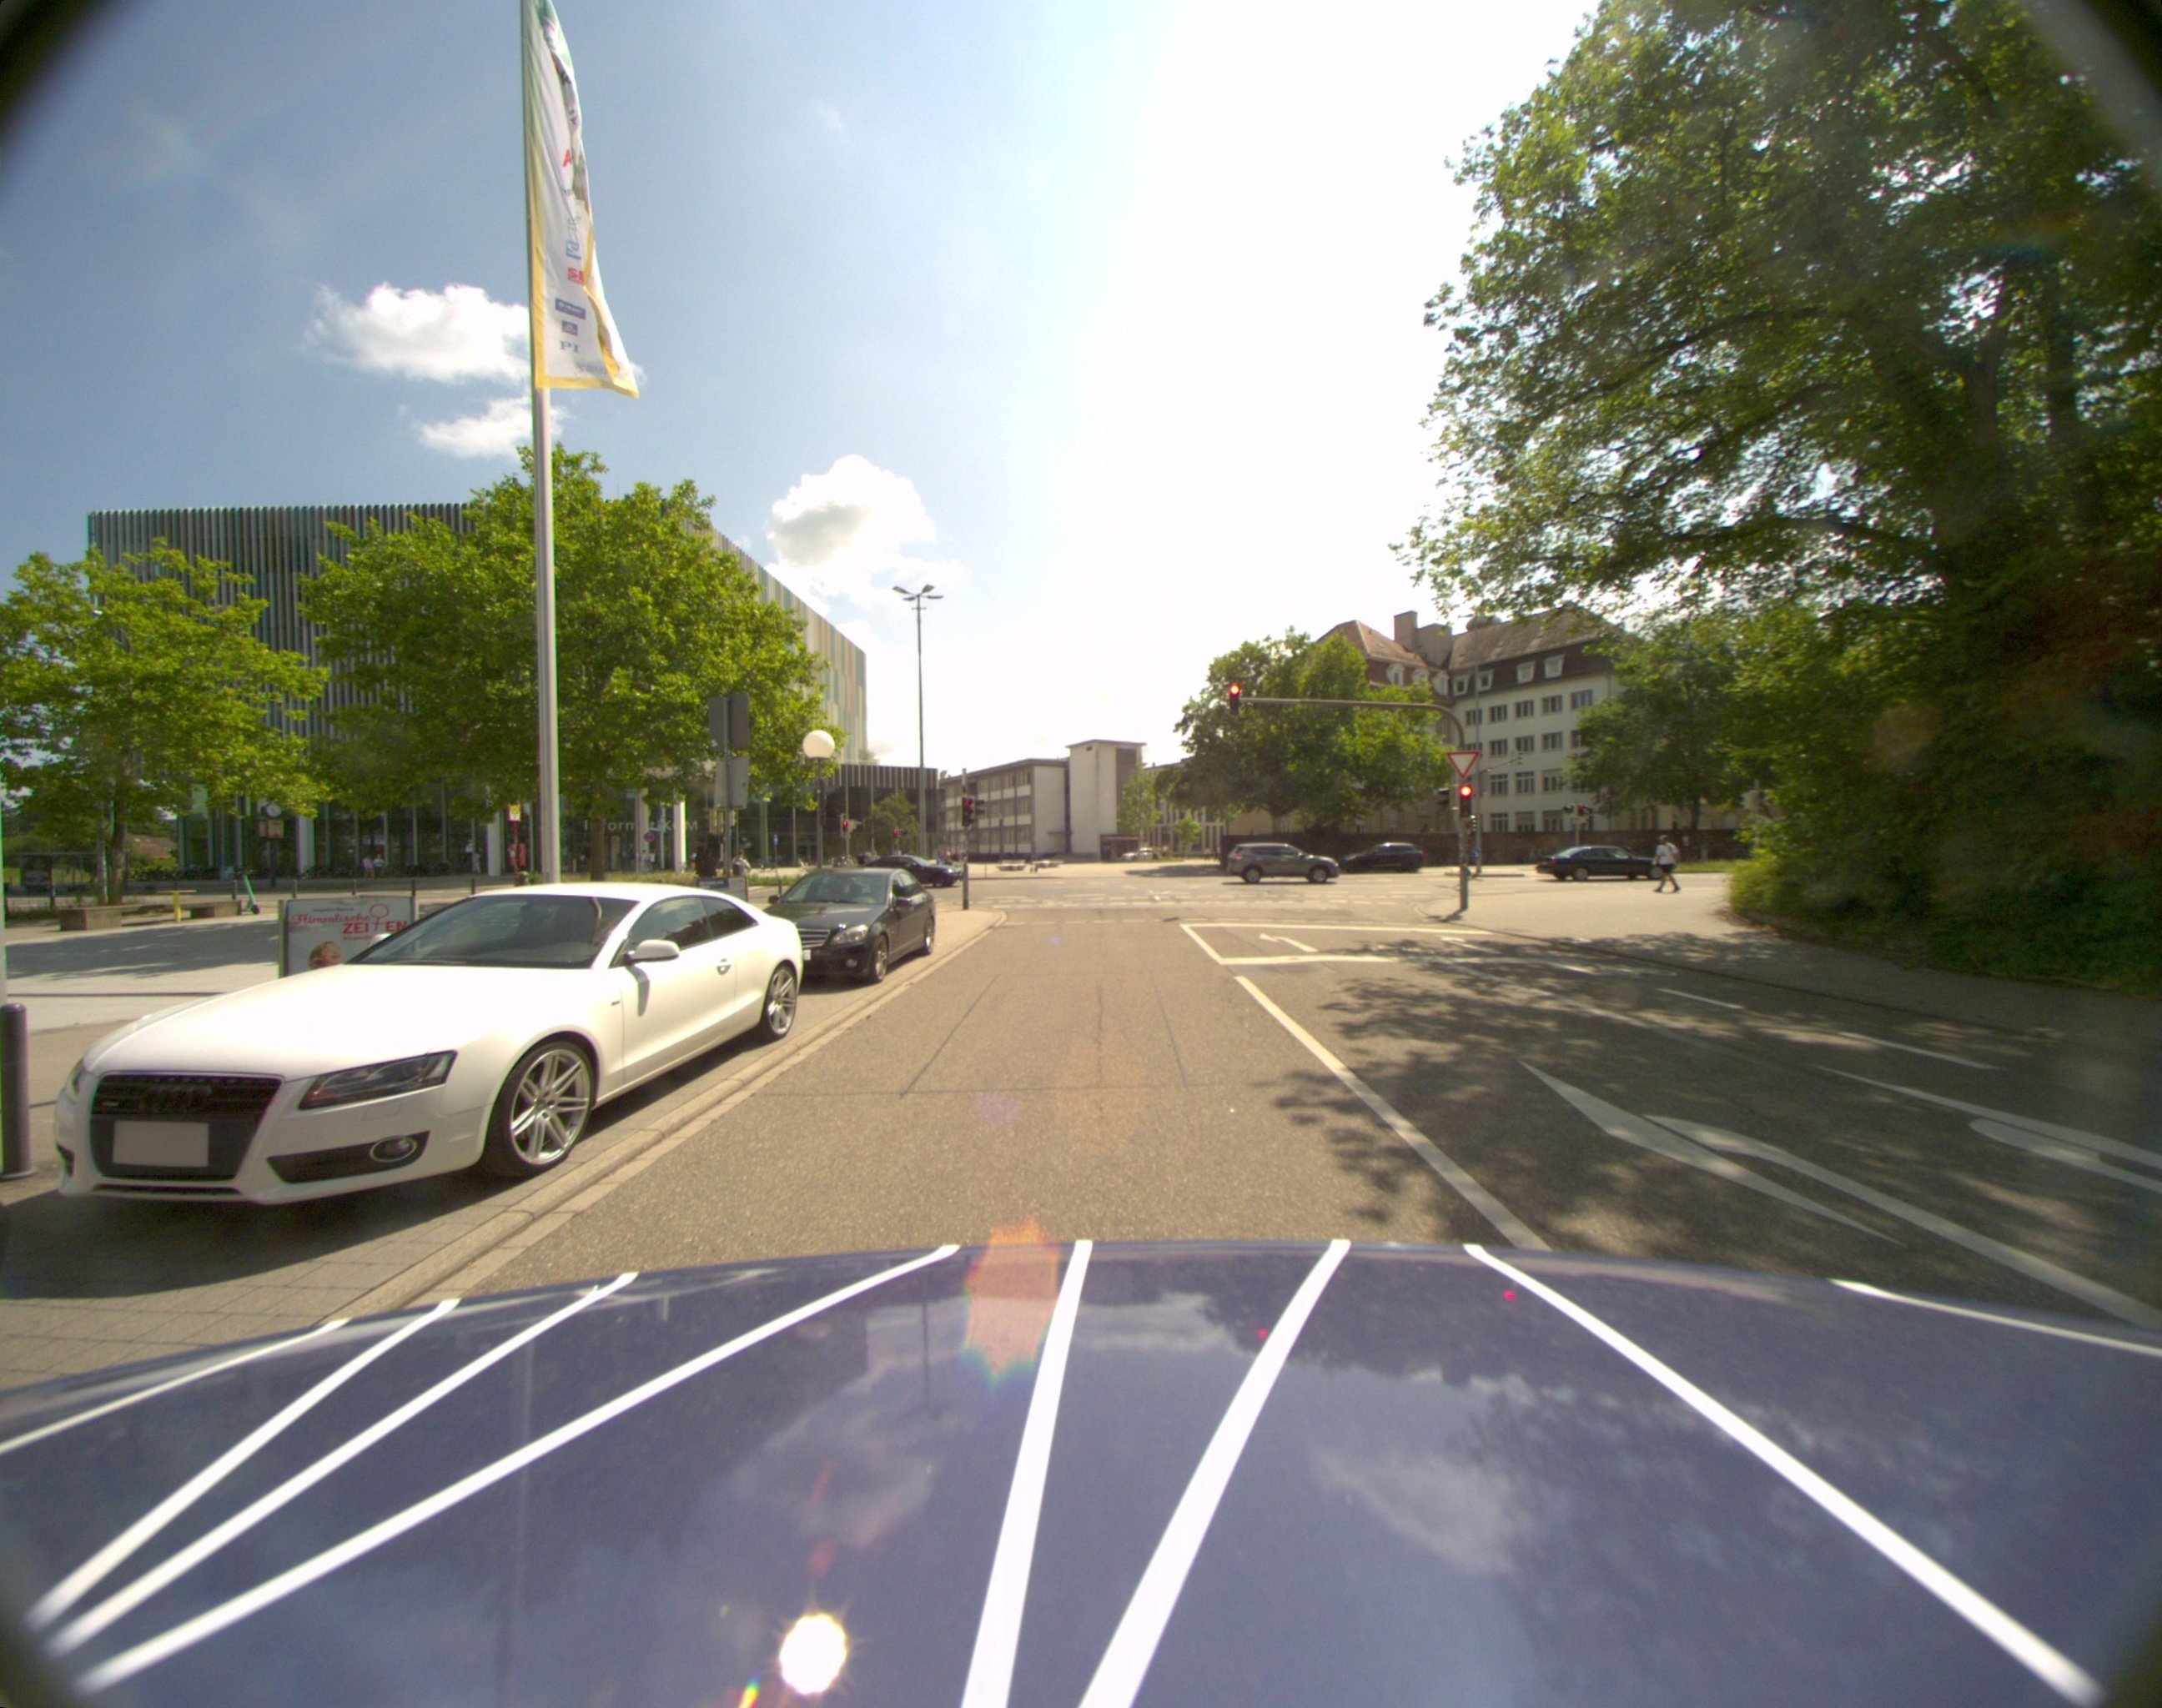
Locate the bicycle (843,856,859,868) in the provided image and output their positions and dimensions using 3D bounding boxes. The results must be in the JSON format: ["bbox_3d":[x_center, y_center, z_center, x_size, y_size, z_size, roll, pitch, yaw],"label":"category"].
[{"bbox_3d":[-19.480,0.685,64.226,0.530,0.950,1.768,-2,2,-44],"label":"bicycle"}]

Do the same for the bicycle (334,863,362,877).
[{"bbox_3d":[-56.073,1.202,58.137,0.373,0.950,1.548,0,3,17],"label":"bicycle"}]

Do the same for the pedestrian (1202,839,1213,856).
[{"bbox_3d":[13.588,-0.675,81.576,0.890,1.779,0.845,-2,1,28],"label":"pedestrian"}]

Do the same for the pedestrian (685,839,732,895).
[{"bbox_3d":[-12.438,0.449,25.400,0.855,1.808,1.177,1,-3,4],"label":"pedestrian"}]

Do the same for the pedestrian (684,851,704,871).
[{"bbox_3d":[-31.678,0.575,62.212,1.014,1.641,1.183,-1,1,2],"label":"pedestrian"}]

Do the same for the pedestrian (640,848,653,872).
[{"bbox_3d":[-33.777,0.446,59.049,0.790,1.831,0.516,-1,1,-23],"label":"pedestrian"}]

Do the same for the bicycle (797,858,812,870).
[{"bbox_3d":[-22.564,0.813,62.071,0.530,0.950,1.768,-2,3,-41],"label":"bicycle"}]

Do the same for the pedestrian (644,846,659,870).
[{"bbox_3d":[-34.169,0.304,60.433,0.677,1.832,0.691,0,2,9],"label":"pedestrian"}]

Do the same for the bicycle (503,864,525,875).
[{"bbox_3d":[-43.551,1.189,58.358,0.373,0.771,1.546,-1,2,5],"label":"bicycle"}]

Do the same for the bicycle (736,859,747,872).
[{"bbox_3d":[-26.627,0.893,59.566,0.374,0.950,1.768,-2,2,-37],"label":"bicycle"}]

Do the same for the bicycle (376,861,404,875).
[{"bbox_3d":[-52.501,1.061,57.755,0.373,0.950,1.548,0,3,17],"label":"bicycle"}]

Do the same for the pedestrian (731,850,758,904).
[{"bbox_3d":[-11.257,0.759,25.391,0.594,1.790,0.612,-2,-1,42],"label":"pedestrian"}]

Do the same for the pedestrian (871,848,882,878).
[{"bbox_3d":[-12.589,0.550,46.755,0.575,1.832,0.415,-1,2,-10],"label":"pedestrian"}]

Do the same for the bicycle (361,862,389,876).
[{"bbox_3d":[-53.668,1.138,57.788,0.373,0.950,1.548,0,3,17],"label":"bicycle"}]

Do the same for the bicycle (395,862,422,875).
[{"bbox_3d":[-51.276,1.097,57.954,0.373,0.950,1.548,0,3,17],"label":"bicycle"}]

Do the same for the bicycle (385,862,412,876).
[{"bbox_3d":[-51.848,1.114,57.723,0.373,0.950,1.548,0,3,17],"label":"bicycle"}]

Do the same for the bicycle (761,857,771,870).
[{"bbox_3d":[-25.032,0.731,60.412,0.529,0.950,1.770,-1,2,-18],"label":"bicycle"}]

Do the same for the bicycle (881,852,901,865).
[{"bbox_3d":[-14.346,0.368,57.259,1.768,0.950,0.530,1,2,40],"label":"bicycle"}]

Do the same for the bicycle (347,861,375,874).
[{"bbox_3d":[-55.008,1.033,58.074,0.373,0.950,1.548,0,3,17],"label":"bicycle"}]

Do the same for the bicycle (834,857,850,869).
[{"bbox_3d":[-20.058,0.766,63.650,0.530,0.950,1.768,-2,2,-44],"label":"bicycle"}]

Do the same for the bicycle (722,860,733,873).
[{"bbox_3d":[-27.336,0.973,58.742,0.374,0.950,1.542,-2,2,-37],"label":"bicycle"}]

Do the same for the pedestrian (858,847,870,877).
[{"bbox_3d":[-13.264,0.480,46.550,0.633,1.832,0.479,-1,2,-13],"label":"pedestrian"}]

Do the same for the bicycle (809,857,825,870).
[{"bbox_3d":[-21.792,0.785,62.665,0.530,0.950,1.768,-6,5,-41],"label":"bicycle"}]

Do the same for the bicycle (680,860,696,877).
[{"bbox_3d":[-29.516,1.067,57.089,0.373,1.181,1.546,0,3,0],"label":"bicycle"}]

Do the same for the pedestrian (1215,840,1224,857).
[{"bbox_3d":[14.716,-0.560,80.857,0.864,1.779,0.844,0,1,13],"label":"pedestrian"}]

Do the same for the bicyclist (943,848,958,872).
[{"bbox_3d":[-8.237,0.378,48.096,0.787,1.530,0.656,-2,2,-23],"label":"bicyclist"}]

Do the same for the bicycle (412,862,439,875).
[{"bbox_3d":[-50.082,1.101,58.097,0.373,0.950,1.548,0,3,17],"label":"bicycle"}]

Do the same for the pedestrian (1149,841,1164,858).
[{"bbox_3d":[7.518,-0.460,75.459,1.297,1.641,1.327,-1,1,15],"label":"pedestrian"}]

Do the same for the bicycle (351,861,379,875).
[{"bbox_3d":[-54.500,1.047,57.842,0.373,0.950,1.548,0,3,17],"label":"bicycle"}]

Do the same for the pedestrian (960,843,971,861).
[{"bbox_3d":[-11.103,-0.194,73.282,0.845,1.780,0.676,-2,1,-28],"label":"pedestrian"}]

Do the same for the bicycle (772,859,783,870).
[{"bbox_3d":[-24.285,0.839,60.750,0.530,0.760,1.769,-2,2,-30],"label":"bicycle"}]

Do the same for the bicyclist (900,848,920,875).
[{"bbox_3d":[-10.559,0.441,46.860,1.001,1.606,0.656,-2,2,-27],"label":"bicyclist"}]

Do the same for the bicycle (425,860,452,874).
[{"bbox_3d":[-48.915,1.000,57.878,0.373,0.950,1.548,0,3,17],"label":"bicycle"}]

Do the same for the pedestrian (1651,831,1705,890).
[{"bbox_3d":[17.618,0.189,22.440,0.930,1.690,0.854,0,0,5],"label":"pedestrian"}]

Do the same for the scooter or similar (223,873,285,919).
[{"bbox_3d":[-21.583,1.103,19.836,1.191,1.159,0.353,-1,3,2],"label":"scooter or similar"}]

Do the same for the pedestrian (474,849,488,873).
[{"bbox_3d":[-47.222,0.566,59.790,0.554,1.832,0.561,-1,2,-6],"label":"pedestrian"}]

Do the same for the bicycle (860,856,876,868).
[{"bbox_3d":[-18.319,0.660,65.362,0.530,0.950,1.768,-2,2,-44],"label":"bicycle"}]

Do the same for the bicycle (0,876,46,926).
[{"bbox_3d":[-27.606,1.183,19.282,2.027,1.177,0.800,0,2,13],"label":"bicycle"}]

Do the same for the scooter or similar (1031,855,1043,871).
[{"bbox_3d":[-2.991,0.602,51.590,0.403,1.060,1.149,-2,1,-25],"label":"scooter or similar"}]

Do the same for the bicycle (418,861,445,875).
[{"bbox_3d":[-49.517,1.078,57.921,0.373,0.950,1.548,0,3,17],"label":"bicycle"}]

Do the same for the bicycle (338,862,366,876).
[{"bbox_3d":[-55.658,1.137,58.034,0.373,0.950,1.548,0,3,17],"label":"bicycle"}]

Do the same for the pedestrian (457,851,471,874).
[{"bbox_3d":[-48.818,0.683,60.125,0.554,1.832,0.561,-1,2,-6],"label":"pedestrian"}]
